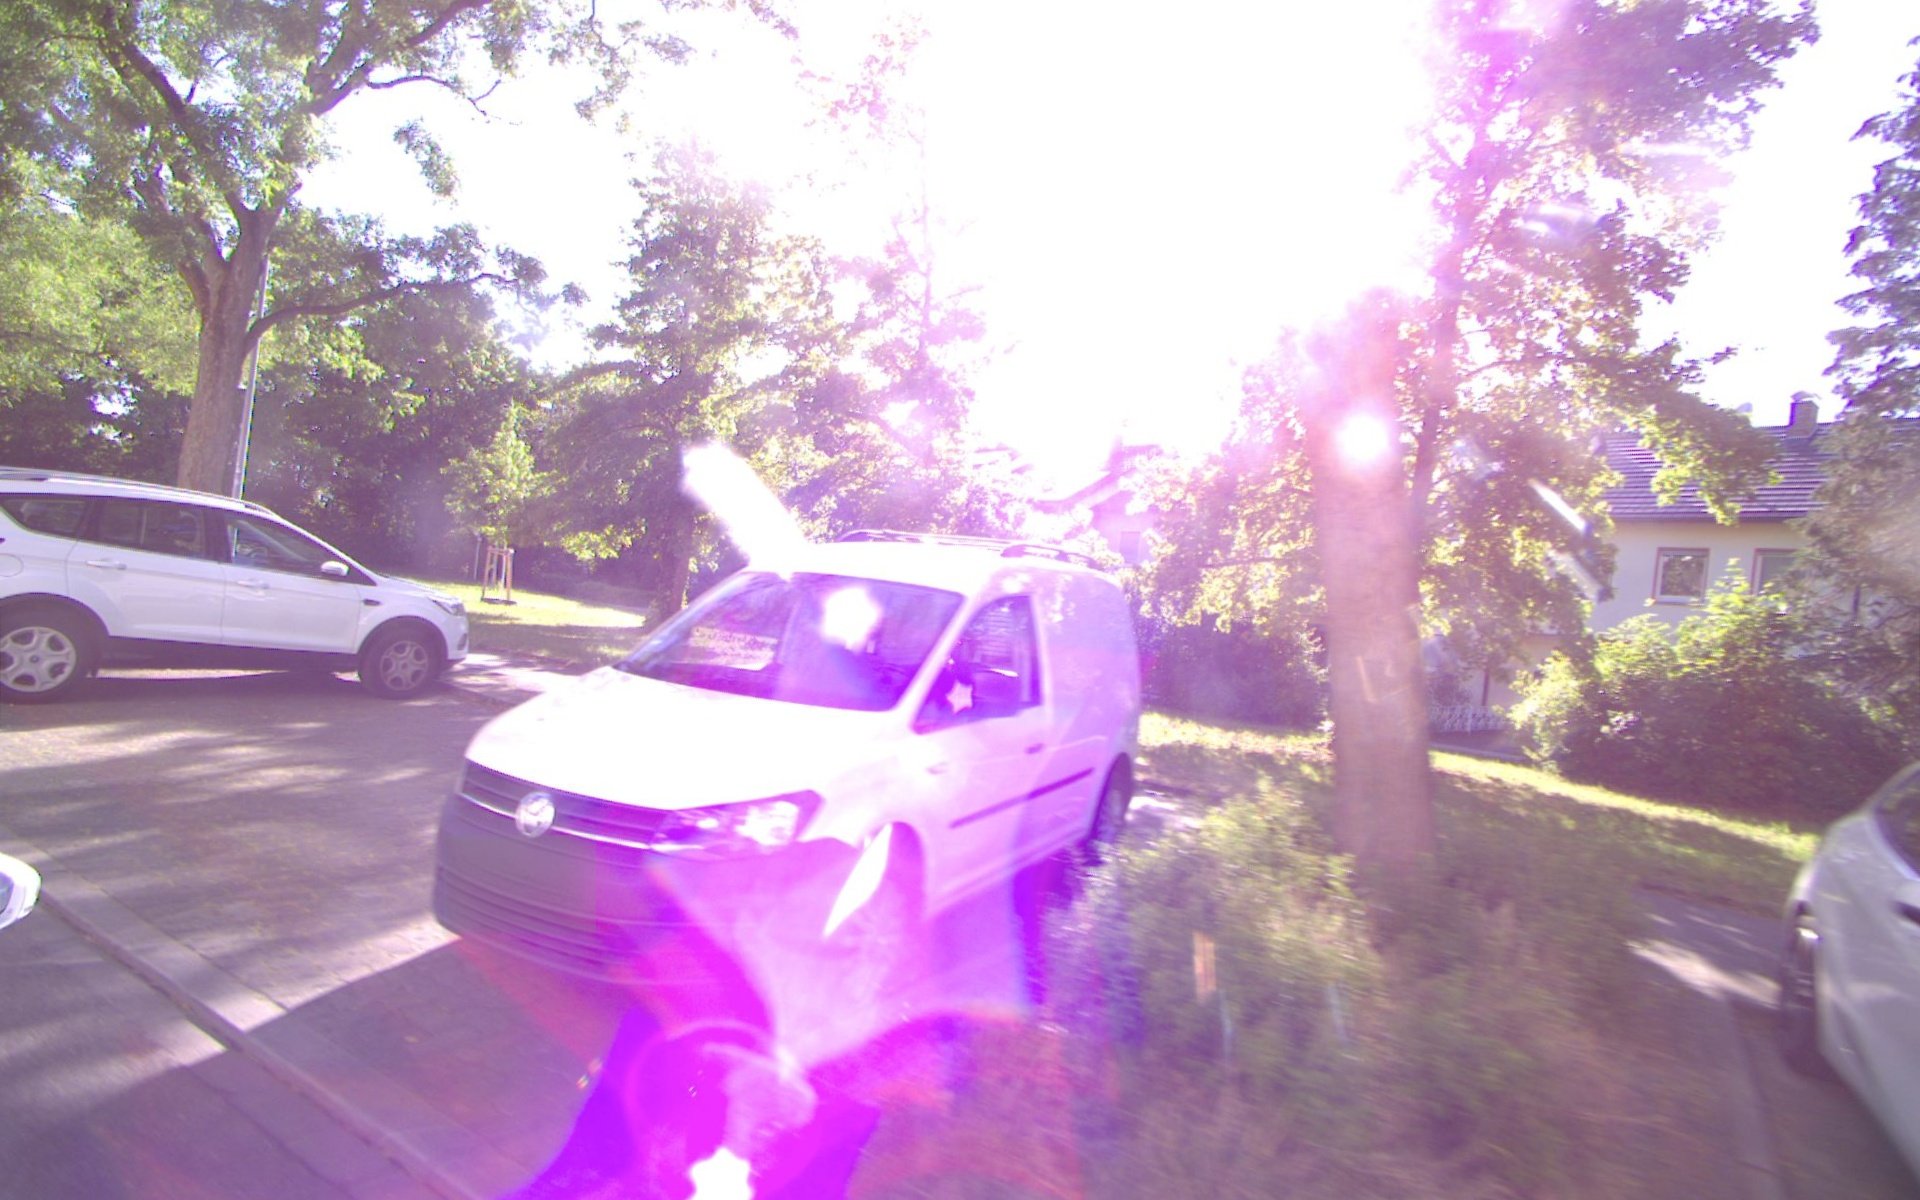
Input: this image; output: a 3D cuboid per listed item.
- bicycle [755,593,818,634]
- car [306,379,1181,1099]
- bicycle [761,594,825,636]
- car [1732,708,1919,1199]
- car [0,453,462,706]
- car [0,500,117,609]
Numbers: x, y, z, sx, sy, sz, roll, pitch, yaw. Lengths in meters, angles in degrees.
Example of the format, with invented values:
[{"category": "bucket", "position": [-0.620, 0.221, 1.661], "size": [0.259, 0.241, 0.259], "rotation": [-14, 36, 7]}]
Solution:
[{"category": "bicycle", "position": [-7.711, 0.637, 44.917], "size": [0.812, 1.491, 2.912], "rotation": [6, -2, 36]}, {"category": "car", "position": [-0.420, 0.433, 5.072], "size": [1.715, 1.945, 4.441], "rotation": [6, 0, 28]}, {"category": "bicycle", "position": [-7.272, 0.672, 43.940], "size": [0.812, 1.460, 2.912], "rotation": [6, -2, 36]}, {"category": "car", "position": [3.393, 1.201, 2.472], "size": [1.716, 1.426, 4.142], "rotation": [6, 1, 30]}, {"category": "car", "position": [-6.808, -0.109, 8.709], "size": [1.717, 1.785, 4.046], "rotation": [6, -1, 33]}, {"category": "car", "position": [-15.119, -0.847, 14.266], "size": [1.717, 1.489, 4.484], "rotation": [6, -1, 32]}]
